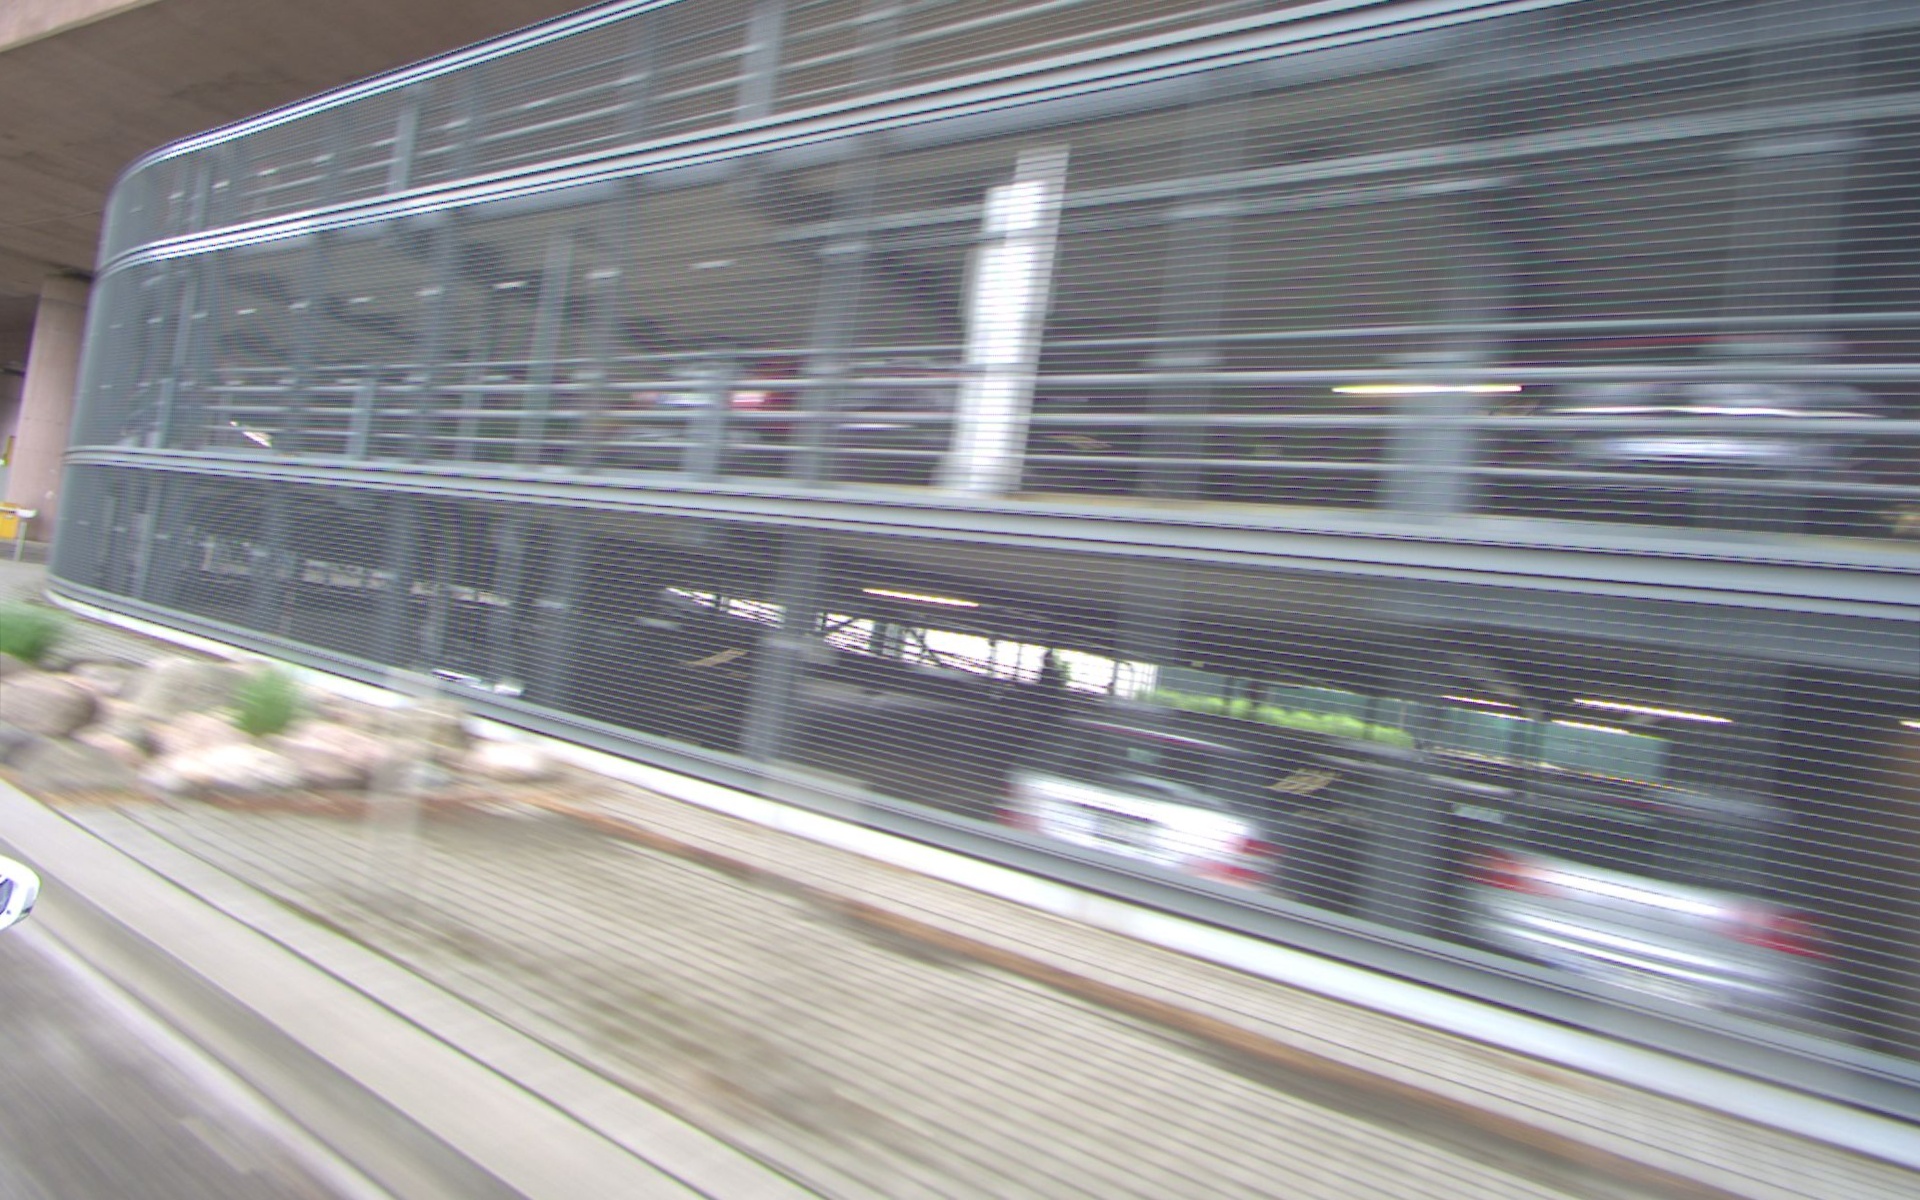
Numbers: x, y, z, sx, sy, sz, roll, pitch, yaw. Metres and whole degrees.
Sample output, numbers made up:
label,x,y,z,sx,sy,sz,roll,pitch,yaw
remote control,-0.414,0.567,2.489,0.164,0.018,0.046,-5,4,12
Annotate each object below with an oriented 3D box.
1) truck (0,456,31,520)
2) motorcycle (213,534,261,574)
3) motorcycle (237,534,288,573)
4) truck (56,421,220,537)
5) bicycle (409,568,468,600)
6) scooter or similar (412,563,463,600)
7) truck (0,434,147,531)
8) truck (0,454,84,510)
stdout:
label,x,y,z,sx,sy,sz,roll,pitch,yaw
truck,-80.558,-9.623,81.886,3.101,4.958,8.695,8,-2,-15
motorcycle,-27.359,-1.749,38.042,2.291,1.118,0.544,12,1,33
motorcycle,-27.253,-1.815,39.307,2.290,1.118,0.573,12,1,30
truck,-45.334,-6.449,55.968,3.101,4.982,9.693,8,-1,-17
bicycle,-21.444,-0.647,41.395,0.390,1.035,2.058,9,-2,37
scooter or similar,-22.184,-0.792,42.713,1.657,1.232,0.542,11,1,-17
truck,-54.130,-6.940,61.418,3.101,4.496,9.693,7,-1,-17
truck,-62.671,-7.916,66.714,3.097,2.981,8.690,6,0,-14
